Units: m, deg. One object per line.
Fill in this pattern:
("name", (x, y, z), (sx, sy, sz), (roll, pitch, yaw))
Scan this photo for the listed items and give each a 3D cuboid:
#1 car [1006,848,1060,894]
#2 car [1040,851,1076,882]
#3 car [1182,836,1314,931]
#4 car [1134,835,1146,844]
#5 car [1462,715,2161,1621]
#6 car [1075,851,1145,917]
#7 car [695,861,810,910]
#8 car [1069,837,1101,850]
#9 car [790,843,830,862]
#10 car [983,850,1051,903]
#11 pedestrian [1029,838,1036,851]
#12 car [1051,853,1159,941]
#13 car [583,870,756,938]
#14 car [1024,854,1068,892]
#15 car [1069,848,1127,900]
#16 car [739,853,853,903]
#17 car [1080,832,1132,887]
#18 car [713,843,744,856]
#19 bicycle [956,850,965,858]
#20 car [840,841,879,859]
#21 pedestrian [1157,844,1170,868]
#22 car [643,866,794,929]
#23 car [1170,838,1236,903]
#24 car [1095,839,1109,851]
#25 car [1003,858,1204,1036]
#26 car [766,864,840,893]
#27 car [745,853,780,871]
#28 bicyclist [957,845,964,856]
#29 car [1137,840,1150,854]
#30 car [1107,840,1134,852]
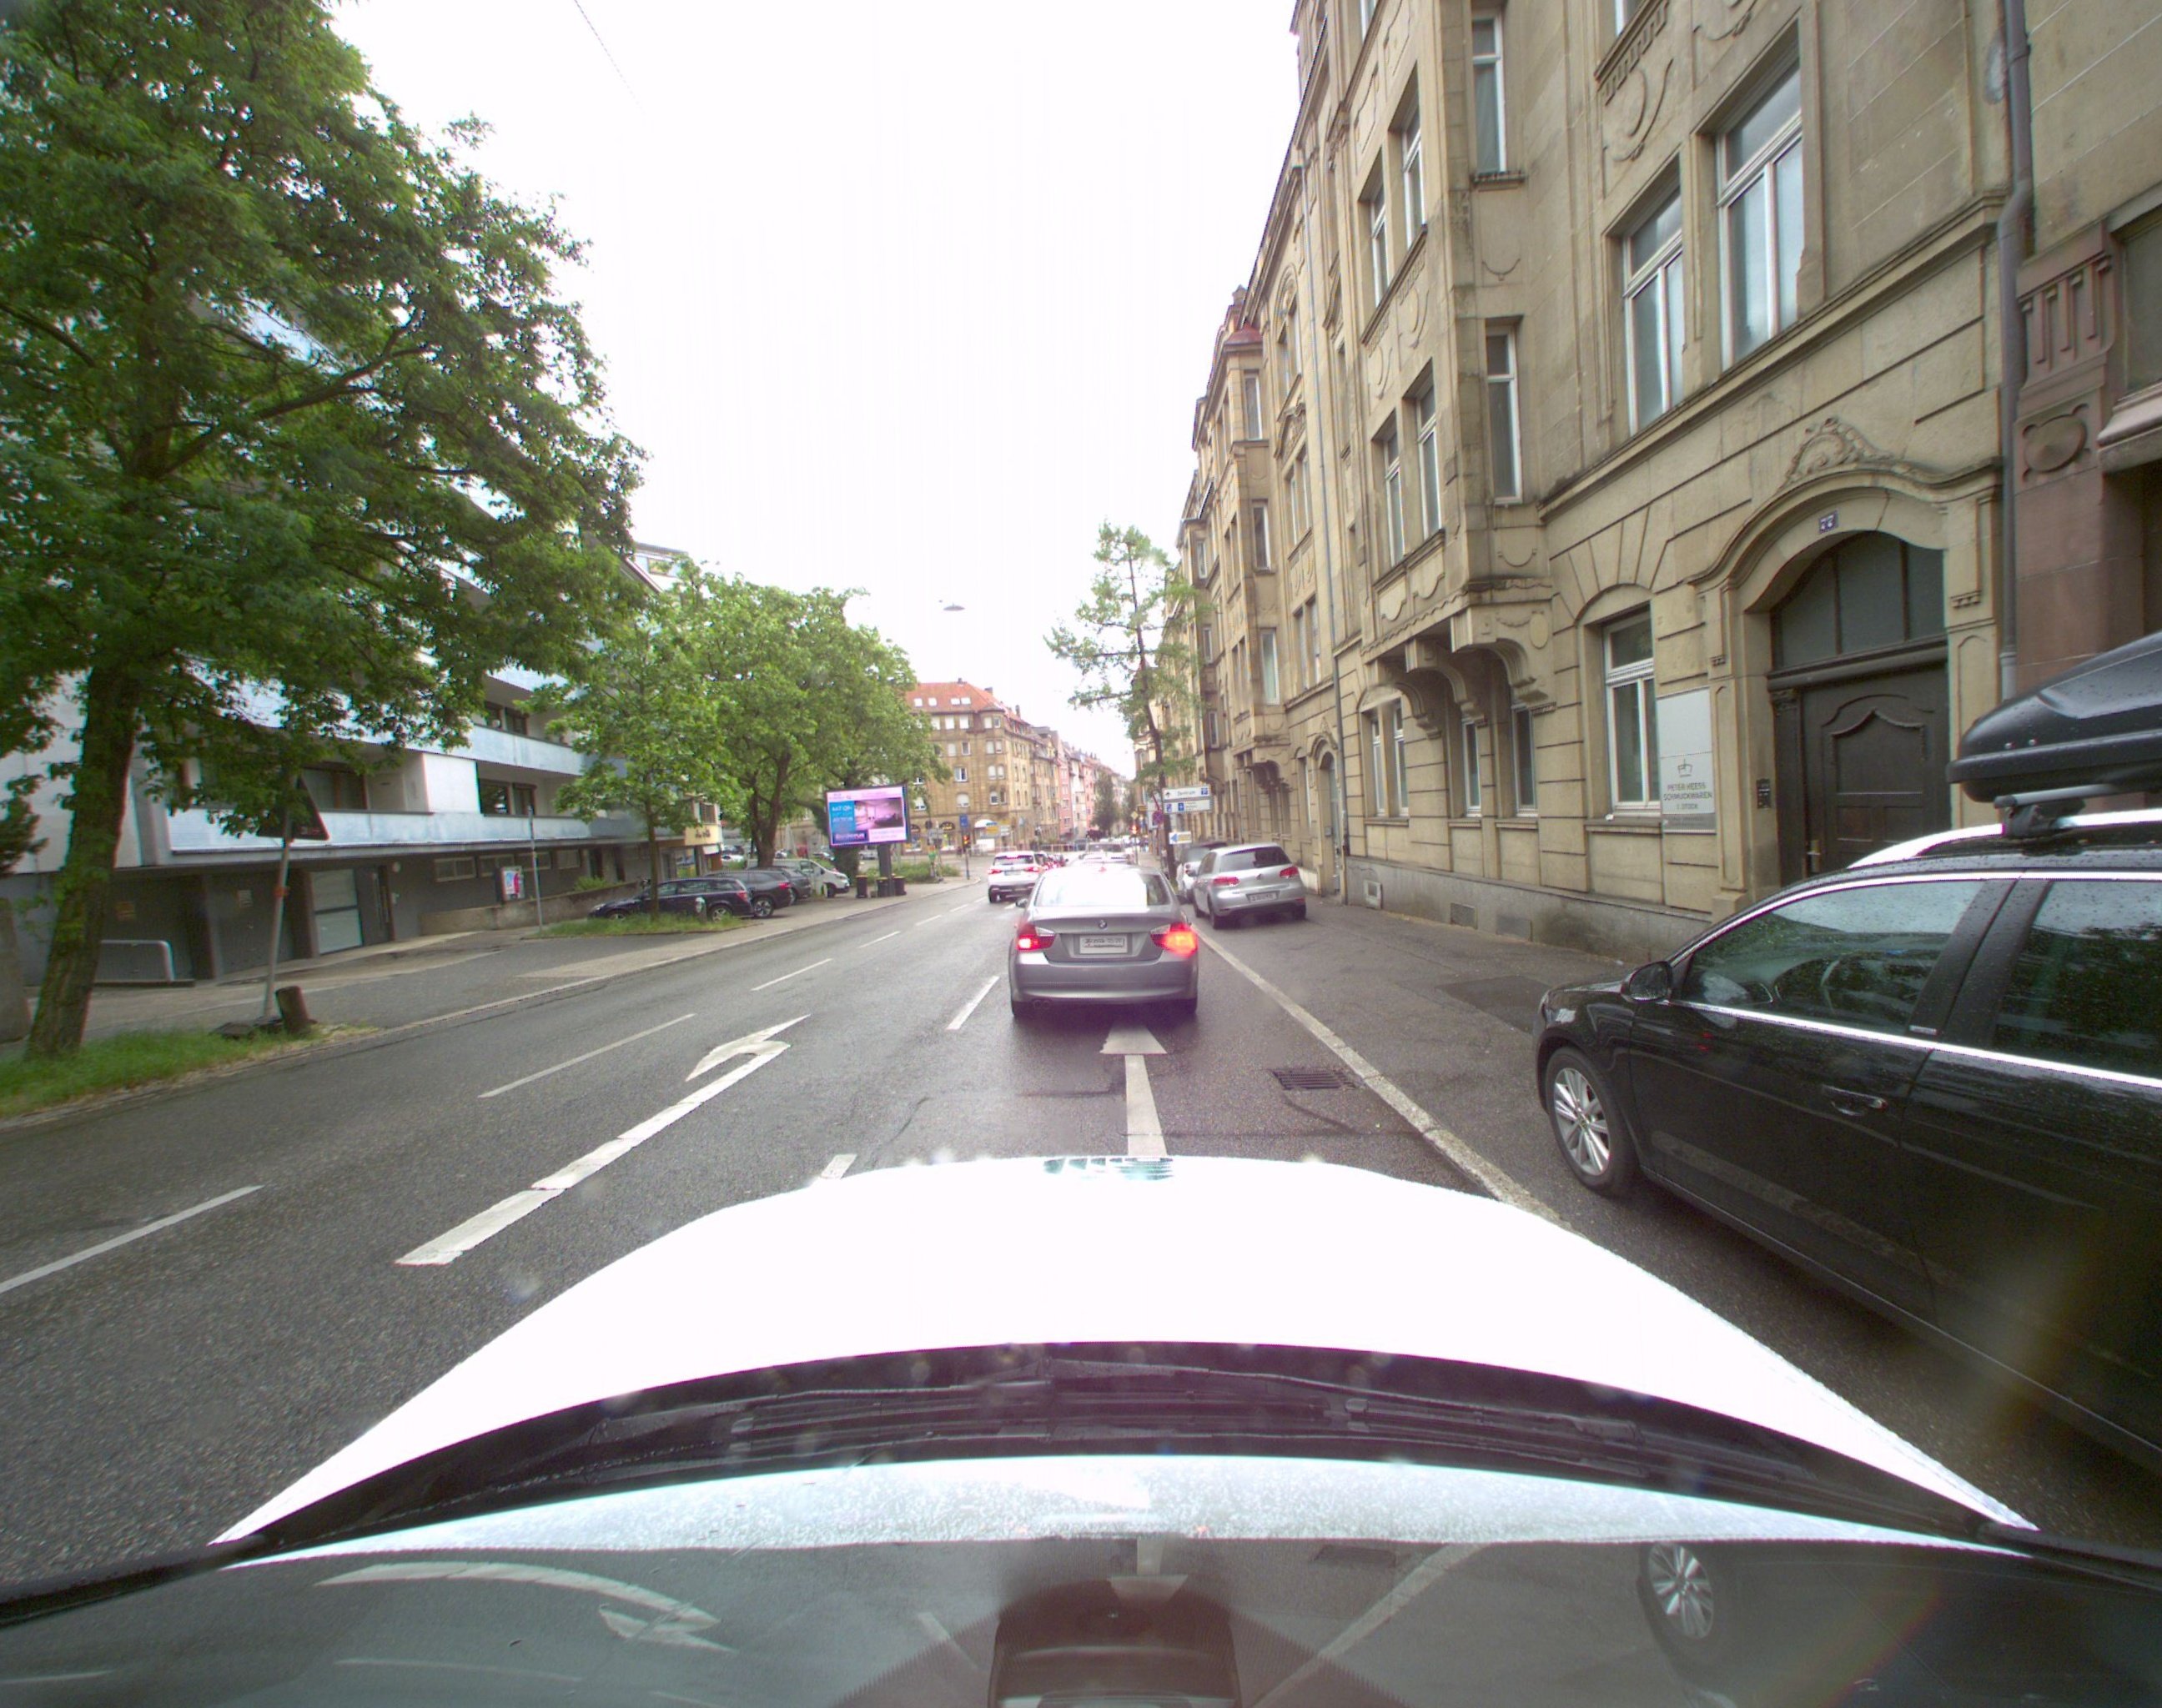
("car", (-1.919, 0.632, 33.563), (1.752, 1.707, 4.003), (-2, 0, 3))
("car", (-1.346, 0.706, 48.506), (1.752, 1.707, 4.003), (-2, 0, 3))
("car", (3.185, 0.507, 16.337), (1.753, 1.451, 4.001), (-7, 0, 1))
("car", (8.209, -1.975, 113.433), (1.429, 1.174, 3.435), (0, 0, 1))
("car", (2.783, 0.479, 1.991), (1.753, 1.651, 4.101), (-7, 0, 2))
("car", (0.777, 0.680, 20.916), (1.588, 1.464, 4.003), (-2, 0, 3))
("car", (-13.885, 1.317, 34.700), (4.370, 1.784, 1.927), (-3, 0, -19))
("car", (0.687, -1.705, 130.330), (5.158, 2.014, 2.699), (0, -1, 1))
("car", (-31.957, -0.196, 96.120), (3.954, 2.013, 2.010), (-4, 0, 18))
("car", (-2.118, 0.693, 27.965), (1.861, 1.625, 4.001), (-2, 0, 1))
("pedestrian", (-6.040, -1.139, 101.707), (0.727, 1.577, 0.530), (-3, 0, 10))
("car", (0.505, 0.710, 15.494), (1.752, 1.383, 4.003), (-2, 0, 3))
("car", (-12.230, 1.447, 24.555), (4.373, 1.574, 1.930), (-4, 0, -21))
("car", (-1.704, 0.924, 40.617), (1.752, 1.707, 4.003), (-2, 0, 3))
("car", (0.627, 0.614, 27.363), (1.752, 1.567, 4.003), (-2, 0, 3))
("car", (-13.954, 1.151, 40.028), (5.076, 2.105, 1.979), (-3, 0, -19))
("car", (1.039, 0.217, 33.792), (1.986, 2.106, 4.002), (-2, 0, 2))
("car", (-47.202, -0.563, 109.002), (3.949, 1.689, 1.738), (-1, -1, 29))
("bicycle", (-14.366, 0.017, 97.069), (0.569, 0.858, 1.527), (-1, -1, 12))
("car", (-26.527, -0.473, 97.531), (4.238, 2.101, 2.013), (0, 2, 30))
("pedestrian", (5.419, 0.114, 53.681), (0.629, 1.508, 0.693), (-7, 0, 1))
("car", (-11.993, 1.386, 27.269), (4.382, 1.672, 1.842), (-4, 0, -21))
("car", (3.336, 0.417, 22.719), (1.295, 1.543, 2.977), (-7, 0, 1))
("car", (2.652, -1.170, 104.899), (1.709, 1.450, 3.743), (-3, 0, 1))
("car", (0.278, 0.780, 8.565), (1.617, 1.383, 3.618), (-2, 0, 3))
("car", (-16.133, 1.416, 47.387), (3.985, 1.450, 1.758), (-3, 0, -19))
("car", (-41.360, 1.012, 105.711), (4.238, 2.101, 2.013), (0, 2, 30))
("bicyclist", (-14.377, -0.422, 96.988), (0.565, 1.273, 0.692), (-1, -1, 13))
("car", (9.381, -1.030, 122.225), (1.679, 2.013, 4.002), (-4, 0, 2))
("car", (5.486, -1.124, 113.883), (1.974, 1.578, 4.025), (-1, -1, 34))
